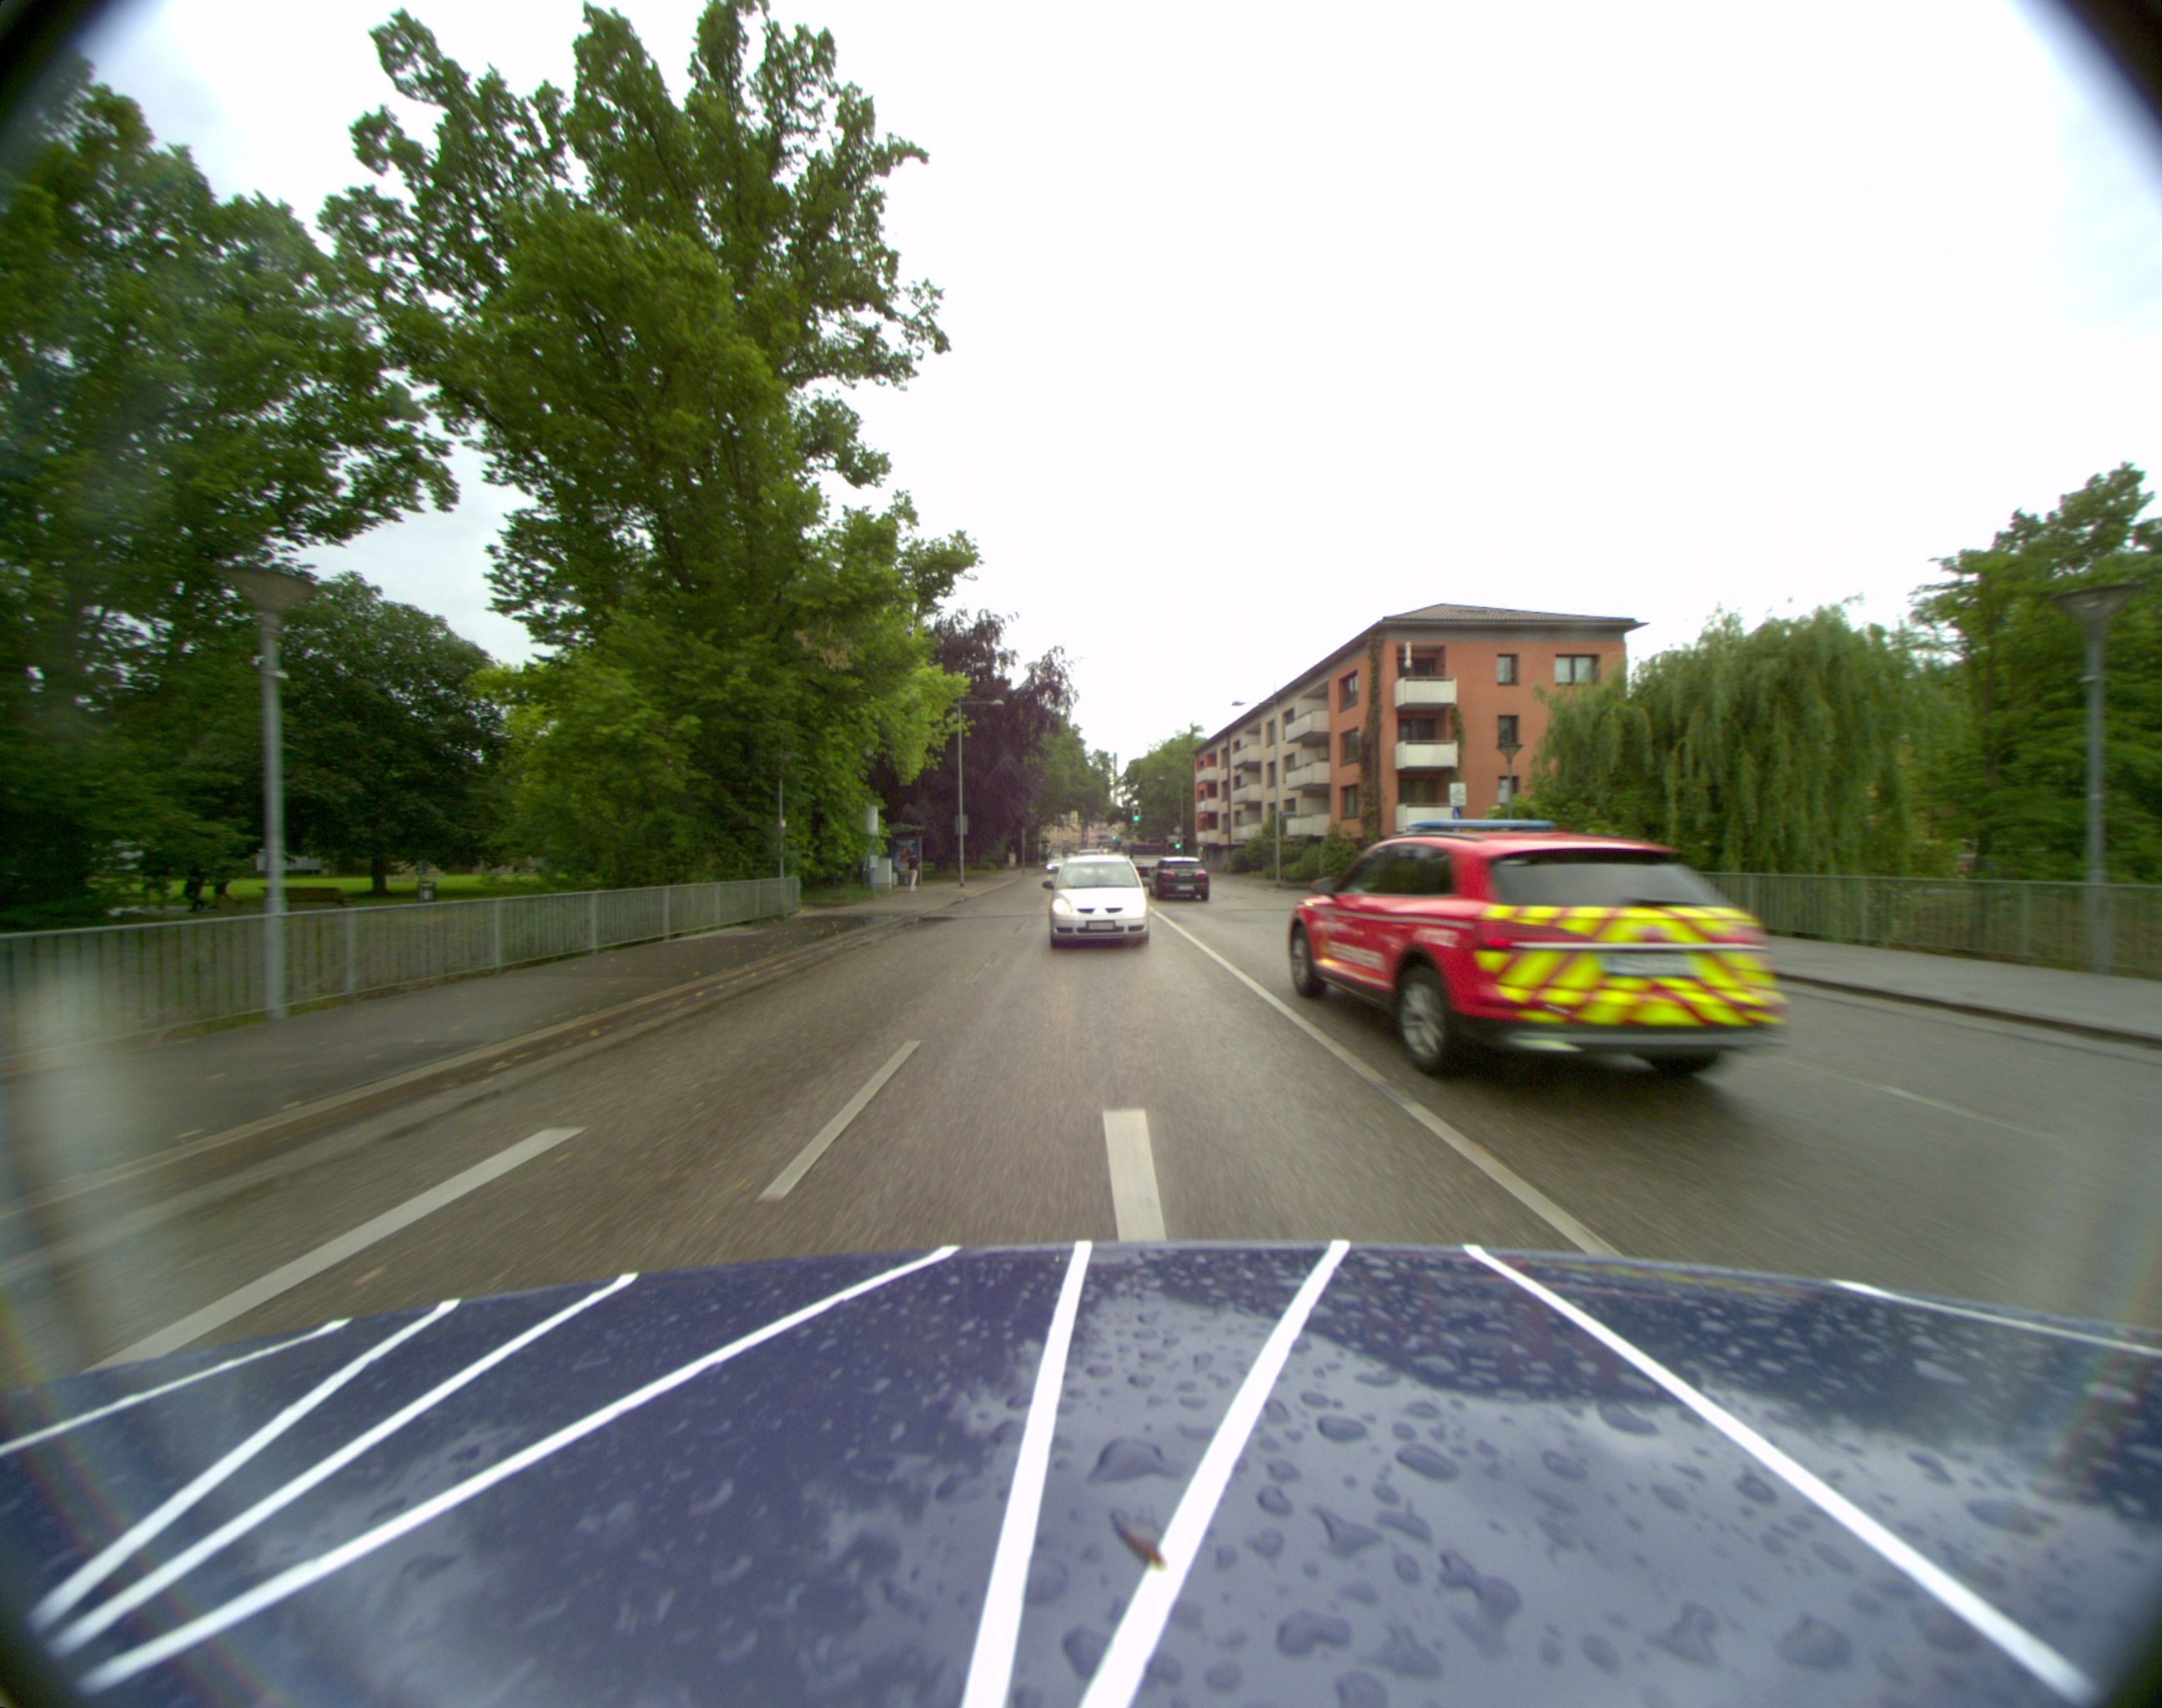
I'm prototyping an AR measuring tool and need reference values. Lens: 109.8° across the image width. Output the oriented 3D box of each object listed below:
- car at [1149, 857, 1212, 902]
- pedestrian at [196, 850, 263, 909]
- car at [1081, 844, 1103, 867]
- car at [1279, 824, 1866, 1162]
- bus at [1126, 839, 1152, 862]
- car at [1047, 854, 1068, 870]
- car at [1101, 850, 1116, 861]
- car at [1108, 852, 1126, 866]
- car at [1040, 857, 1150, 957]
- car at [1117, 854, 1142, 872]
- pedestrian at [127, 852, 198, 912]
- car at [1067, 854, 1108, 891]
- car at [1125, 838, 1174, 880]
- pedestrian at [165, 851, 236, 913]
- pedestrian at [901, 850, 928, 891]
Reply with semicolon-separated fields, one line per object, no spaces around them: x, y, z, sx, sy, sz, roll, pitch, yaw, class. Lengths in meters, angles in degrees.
3.452;0.831;26.885;1.750;1.431;4.000;0;1;1;car
-25.902;0.751;23.140;1.060;1.742;0.781;-1;1;-5;pedestrian
1.058;0.086;72.357;2.037;2.119;3.999;-1;1;1;car
3.076;0.699;6.074;1.893;1.725;4.371;0;0;1;car
7.955;-0.567;105.879;2.700;2.923;12.082;0;1;0;bus
-2.328;0.776;76.416;1.906;1.538;3.999;-1;1;1;car
3.769;0.232;104.548;1.818;1.407;4.048;0;0;-1;car
4.165;0.589;87.563;1.818;1.569;4.231;0;0;-1;car
0.234;0.848;14.493;1.718;1.509;4.806;-1;0;0;car
4.014;0.728;63.106;1.786;1.465;4.166;0;0;0;car
-27.651;0.829;22.890;1.060;1.742;0.781;-1;1;-5;pedestrian
0.287;0.801;34.605;1.718;1.509;4.088;-1;0;0;car
3.928;0.305;44.848;2.295;2.295;6.509;0;0;0;car
-25.667;0.808;22.162;1.060;1.742;0.781;-1;1;-5;pedestrian
-6.939;0.673;31.767;0.850;1.666;1.167;1;1;0;pedestrian
